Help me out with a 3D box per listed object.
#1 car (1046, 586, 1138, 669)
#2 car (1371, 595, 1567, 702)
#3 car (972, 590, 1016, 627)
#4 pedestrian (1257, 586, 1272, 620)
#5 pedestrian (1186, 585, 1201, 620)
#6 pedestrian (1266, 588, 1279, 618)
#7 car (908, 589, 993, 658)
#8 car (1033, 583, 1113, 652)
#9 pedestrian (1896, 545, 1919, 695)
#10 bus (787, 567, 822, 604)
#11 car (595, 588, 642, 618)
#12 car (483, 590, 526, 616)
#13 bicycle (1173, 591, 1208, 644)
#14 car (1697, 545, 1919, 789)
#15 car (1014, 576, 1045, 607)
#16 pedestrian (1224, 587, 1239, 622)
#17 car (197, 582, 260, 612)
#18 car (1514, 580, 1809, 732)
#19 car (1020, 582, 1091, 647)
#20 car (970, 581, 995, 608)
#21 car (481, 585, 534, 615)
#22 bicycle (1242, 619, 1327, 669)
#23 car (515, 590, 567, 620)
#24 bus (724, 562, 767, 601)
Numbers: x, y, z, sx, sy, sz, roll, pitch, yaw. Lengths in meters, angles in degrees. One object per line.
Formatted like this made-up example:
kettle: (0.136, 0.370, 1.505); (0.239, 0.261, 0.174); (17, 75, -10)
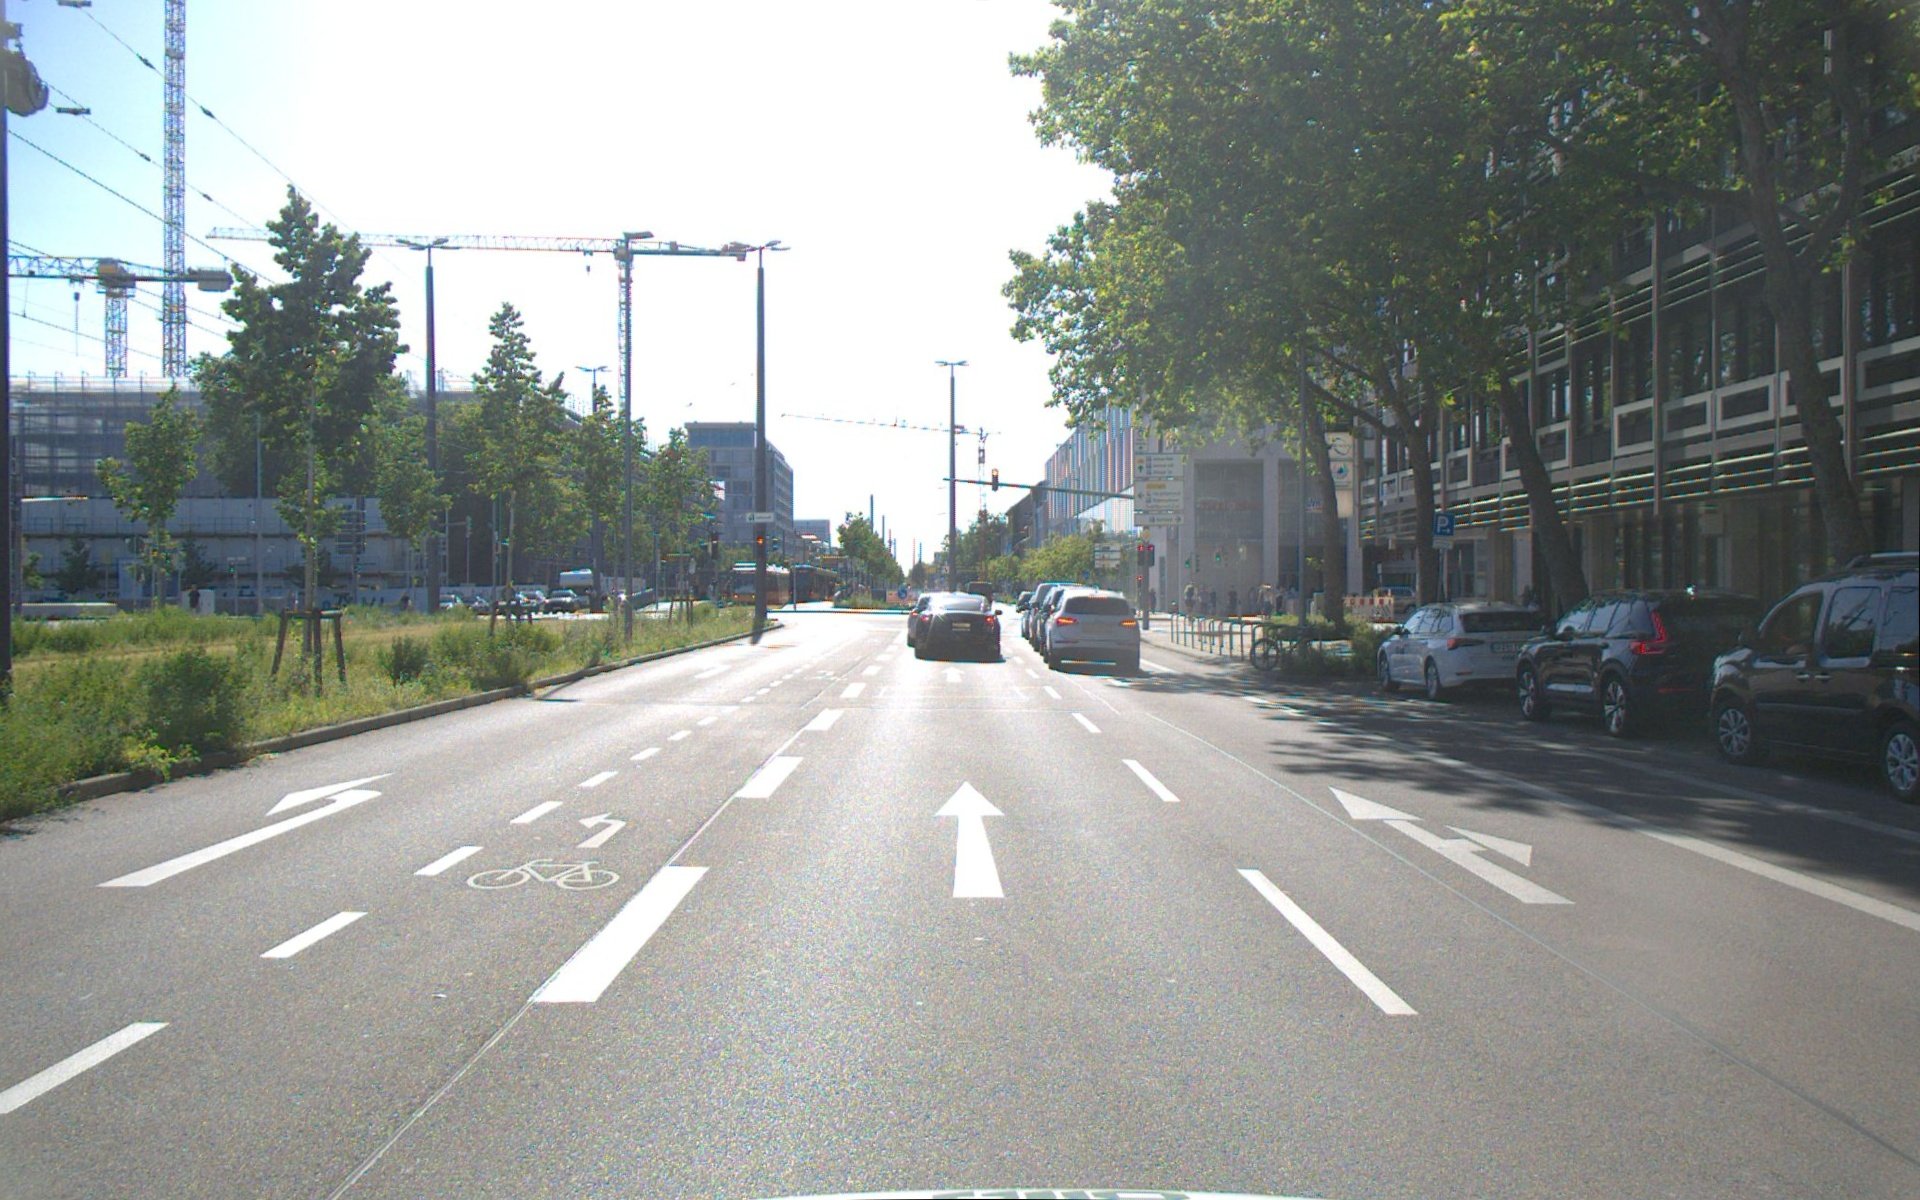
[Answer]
car: (2.743, 0.531, 35.115); (1.686, 1.646, 4.187); (0, 1, 1)
car: (7.963, 0.694, 26.315); (1.669, 1.519, 4.600); (0, 1, 0)
car: (1.365, 0.327, 67.924); (1.686, 1.456, 4.186); (0, 1, 0)
pedestrian: (13.291, 0.153, 72.250); (0.550, 1.466, 0.632); (2, -1, 6)
pedestrian: (9.796, 0.115, 69.368); (0.550, 1.466, 0.632); (2, -1, 6)
pedestrian: (15.247, 0.154, 80.755); (0.550, 1.466, 0.632); (2, -1, 6)
car: (-0.255, 0.511, 38.515); (1.873, 1.512, 4.008); (0, 1, -1)
car: (2.819, 0.402, 42.143); (1.686, 1.682, 4.185); (0, 1, -1)
pedestrian: (12.808, 0.273, 21.738); (0.663, 1.950, 0.557); (2, -1, -1)
bus: (-13.704, -1.232, 146.337); (2.575, 3.011, 9.892); (2, -1, -3)
car: (-14.298, 0.147, 69.372); (1.348, 1.199, 3.219); (2, -1, -1)
car: (-30.036, 0.224, 109.211); (1.800, 1.641, 3.894); (2, -1, -1)
bicycle: (6.634, 0.508, 47.720); (0.550, 1.466, 2.575); (2, -1, -2)
car: (7.958, 0.452, 13.809); (1.669, 1.821, 4.192); (-2, 1, 0)
car: (4.812, -0.593, 114.861); (1.953, 2.049, 3.999); (2, -1, 0)
pedestrian: (11.682, 0.195, 71.136); (0.550, 1.466, 0.632); (2, -1, 6)
car: (-40.629, -0.161, 91.937); (1.676, 1.583, 3.999); (2, -1, 0)
car: (8.052, 0.576, 19.418); (1.669, 1.591, 4.192); (0, 0, 0)
car: (2.758, 0.382, 48.530); (1.687, 1.814, 4.185); (0, 1, -2)
car: (1.861, -0.444, 136.237); (1.953, 2.049, 3.999); (2, -1, 0)
car: (-19.043, 0.010, 69.720); (1.348, 1.199, 3.219); (2, -1, -1)
bicycle: (6.786, 0.910, 34.639); (1.660, 0.974, 0.478); (-2, 0, -5)
car: (-17.269, 0.216, 68.289); (1.348, 1.199, 3.219); (2, -1, -1)
bus: (-16.756, -1.416, 129.509); (2.575, 2.831, 8.838); (2, -1, -3)
